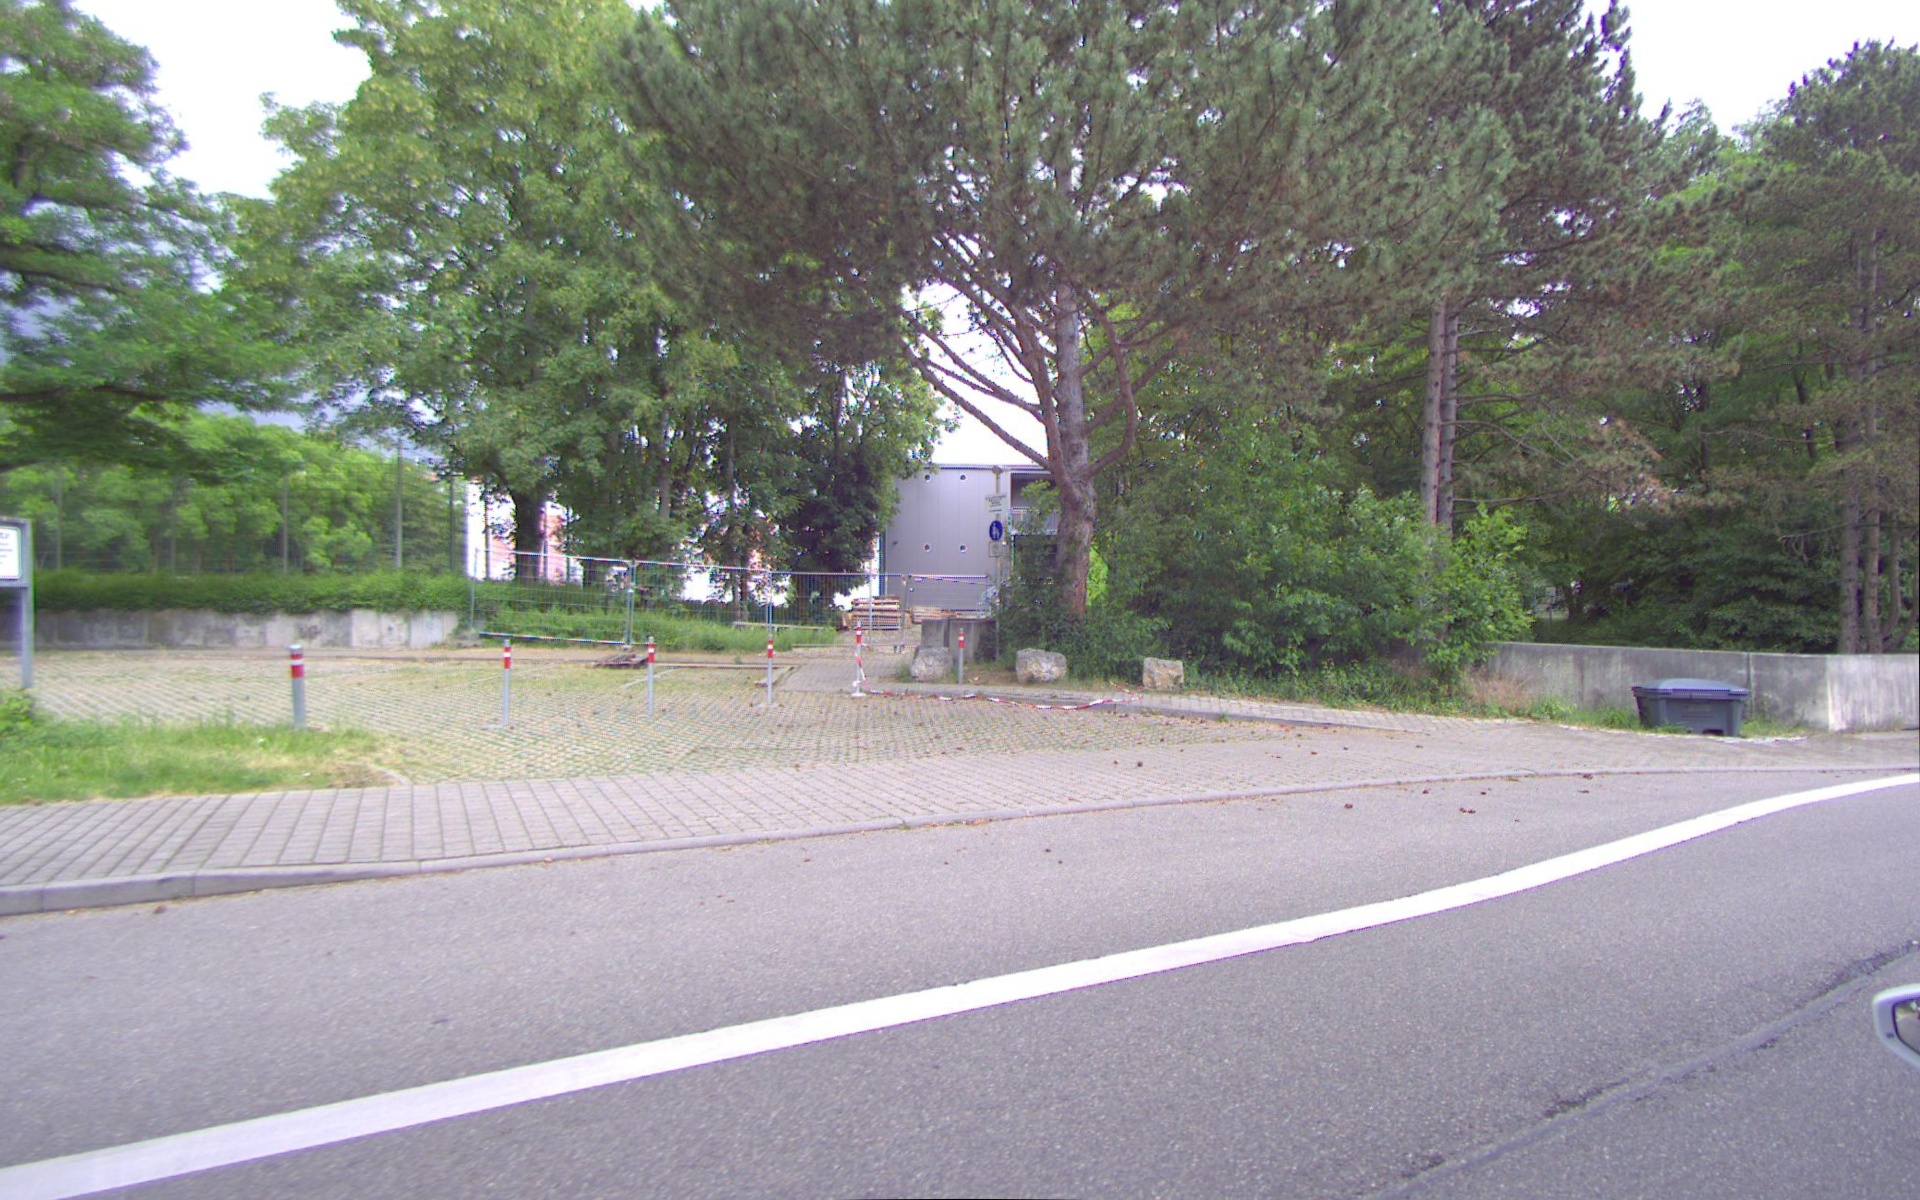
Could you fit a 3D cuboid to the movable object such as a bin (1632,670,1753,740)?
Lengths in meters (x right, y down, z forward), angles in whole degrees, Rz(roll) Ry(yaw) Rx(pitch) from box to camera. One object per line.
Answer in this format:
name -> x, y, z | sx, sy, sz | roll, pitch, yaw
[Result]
movable object such as a bin -> 9.729, 1.379, 13.400 | 1.126, 0.770, 1.048 | 3, 0, 28
